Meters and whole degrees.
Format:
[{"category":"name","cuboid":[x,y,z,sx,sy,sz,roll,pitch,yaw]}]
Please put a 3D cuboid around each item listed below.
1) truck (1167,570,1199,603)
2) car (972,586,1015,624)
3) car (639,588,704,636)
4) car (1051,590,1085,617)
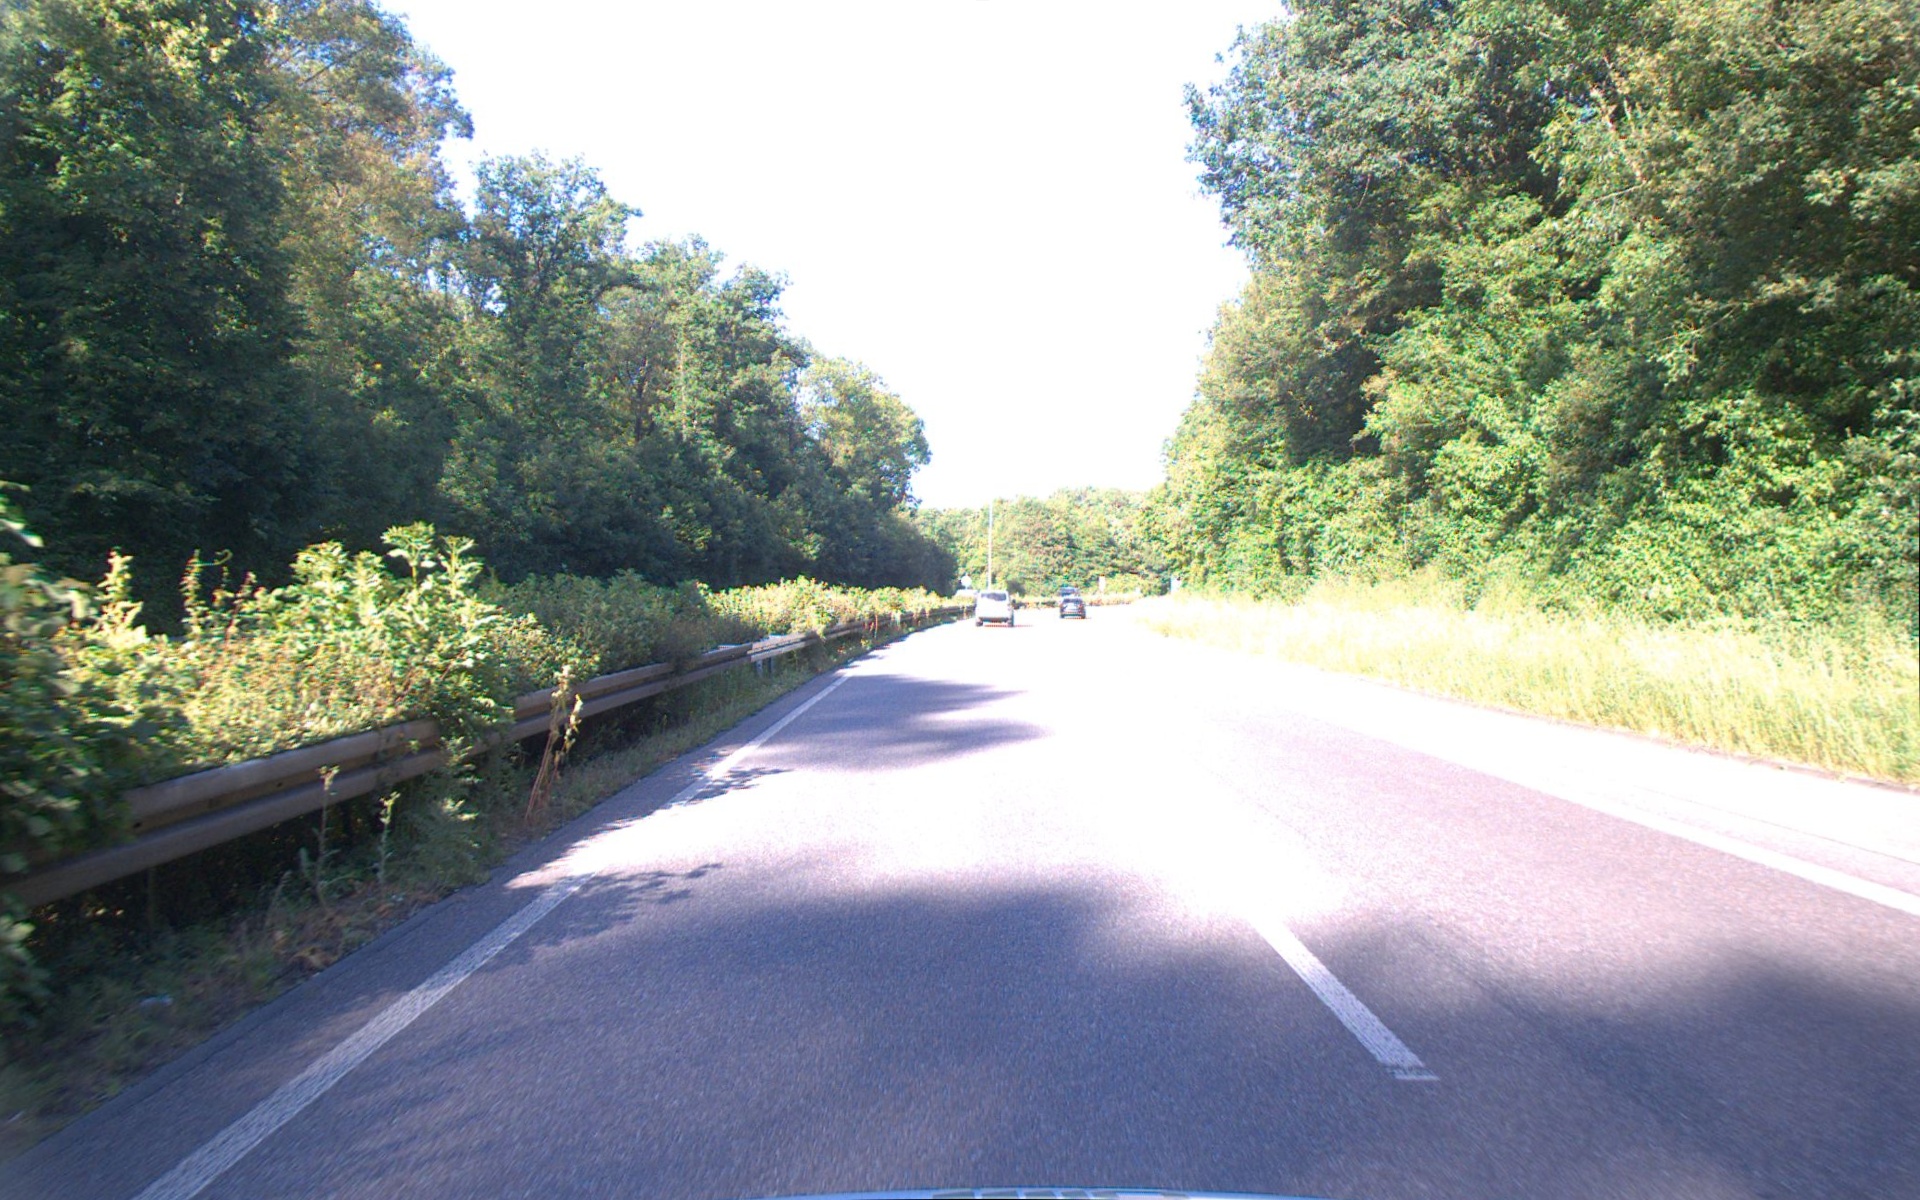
[{"category":"truck","cuboid":[30.855,-1.789,228.623,3.654,4.419,9.312,1,0,11]},{"category":"car","cuboid":[1.671,0.245,83.012,1.912,1.813,4.586,1,0,-2]},{"category":"car","cuboid":[-11.928,0.476,68.707,1.953,1.893,4.709,1,0,-1]},{"category":"car","cuboid":[7.594,0.248,116.621,1.912,1.813,4.586,1,0,-2]}]
